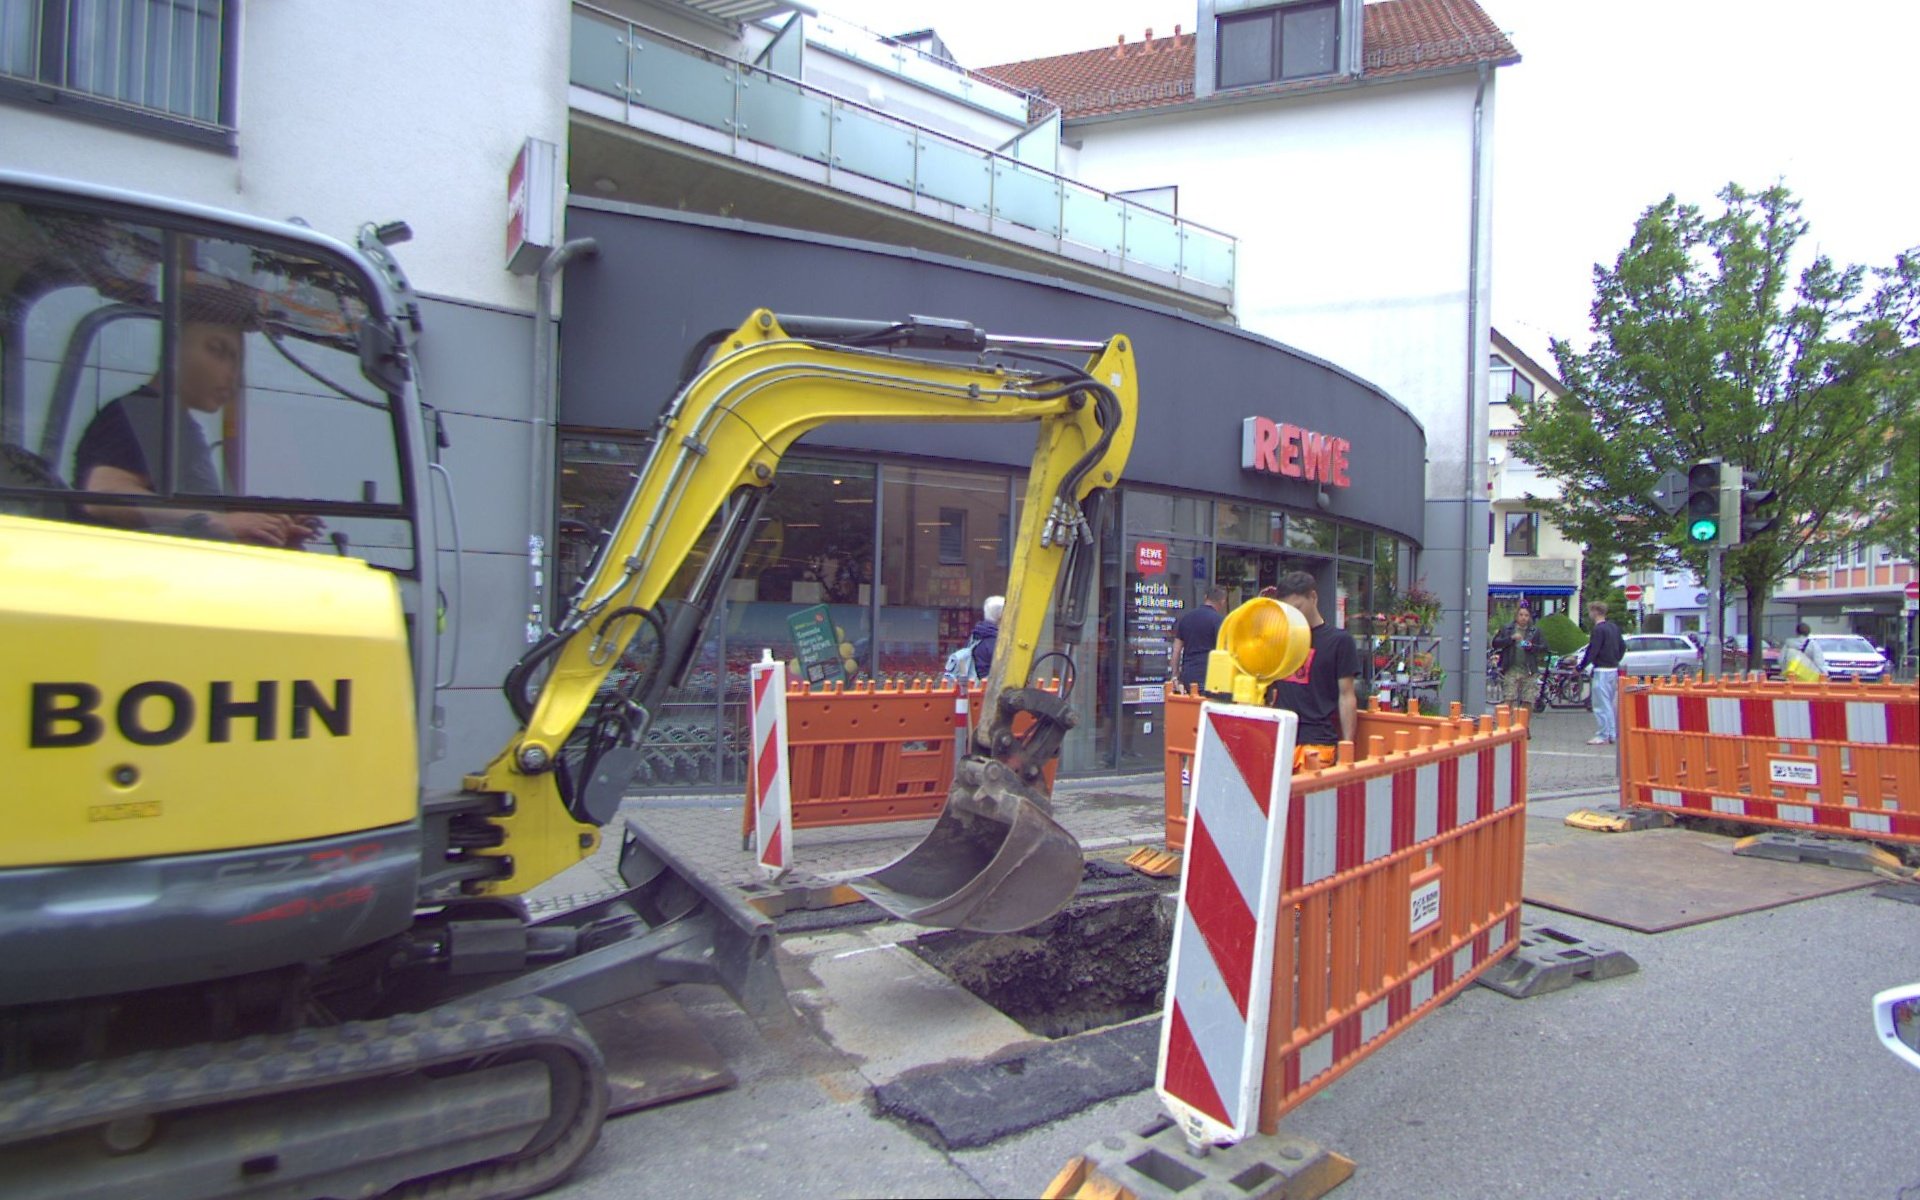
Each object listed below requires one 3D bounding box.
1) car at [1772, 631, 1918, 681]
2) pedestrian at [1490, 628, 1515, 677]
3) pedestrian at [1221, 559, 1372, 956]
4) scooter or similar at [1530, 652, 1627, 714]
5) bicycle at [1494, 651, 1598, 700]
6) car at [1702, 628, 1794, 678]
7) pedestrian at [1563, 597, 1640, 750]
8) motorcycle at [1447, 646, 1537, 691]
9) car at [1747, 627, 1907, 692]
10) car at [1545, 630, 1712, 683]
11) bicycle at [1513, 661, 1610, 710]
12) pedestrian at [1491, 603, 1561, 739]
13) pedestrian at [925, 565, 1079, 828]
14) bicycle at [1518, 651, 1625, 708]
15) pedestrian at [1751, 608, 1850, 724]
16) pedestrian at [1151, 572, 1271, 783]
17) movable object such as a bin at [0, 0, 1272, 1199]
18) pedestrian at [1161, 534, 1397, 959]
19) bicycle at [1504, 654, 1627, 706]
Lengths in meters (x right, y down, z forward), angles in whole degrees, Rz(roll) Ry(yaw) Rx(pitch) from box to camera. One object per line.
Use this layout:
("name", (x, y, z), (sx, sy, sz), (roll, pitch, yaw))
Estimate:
("car", (32.554, 2.000, 37.157), (1.981, 1.578, 4.921), (1, 0, 14))
("pedestrian", (19.251, 1.861, 35.646), (0.757, 1.691, 0.953), (0, -2, 29))
("pedestrian", (1.607, 0.706, 4.820), (0.438, 1.767, 0.535), (1, -1, -27))
("scooter or similar", (12.032, 1.609, 19.584), (1.502, 1.138, 0.598), (0, -1, 16))
("bicycle", (13.511, 1.726, 23.233), (1.922, 1.088, 0.812), (-1, -2, 18))
("car", (28.438, 1.843, 36.406), (1.986, 1.578, 4.908), (1, 0, 31))
("pedestrian", (8.558, 0.942, 13.391), (0.804, 1.951, 0.782), (0, -1, 37))
("motorcycle", (13.782, 1.766, 26.052), (1.915, 1.119, 0.803), (0, -2, 13))
("car", (25.147, 1.656, 29.380), (1.982, 1.578, 4.917), (1, 0, 21))
("car", (22.232, 1.850, 33.509), (4.242, 1.661, 2.000), (1, -2, 0))
("bicycle", (12.573, 1.784, 21.030), (1.597, 0.894, 0.496), (-5, -3, 15))
("pedestrian", (7.831, 0.980, 13.936), (0.704, 1.813, 0.694), (0, -5, 19))
("pedestrian", (0.283, 0.647, 7.174), (0.805, 1.735, 0.829), (1, -1, -25))
("bicycle", (12.337, 1.612, 20.305), (1.710, 1.060, 0.532), (-4, -3, 15))
("pedestrian", (11.979, 0.932, 14.332), (0.862, 1.613, 0.682), (1, -1, -6))
("pedestrian", (2.346, 0.692, 9.420), (0.779, 1.868, 0.749), (1, -1, -28))
("movable object such as a bin", (-1.211, 0.114, 3.456), (4.453, 2.800, 1.830), (2, -2, -30))
("pedestrian", (1.534, 0.644, 4.890), (0.734, 1.840, 0.811), (1, -1, -28))
("bicycle", (13.018, 1.725, 21.656), (2.108, 1.060, 0.751), (-2, -2, 15))
